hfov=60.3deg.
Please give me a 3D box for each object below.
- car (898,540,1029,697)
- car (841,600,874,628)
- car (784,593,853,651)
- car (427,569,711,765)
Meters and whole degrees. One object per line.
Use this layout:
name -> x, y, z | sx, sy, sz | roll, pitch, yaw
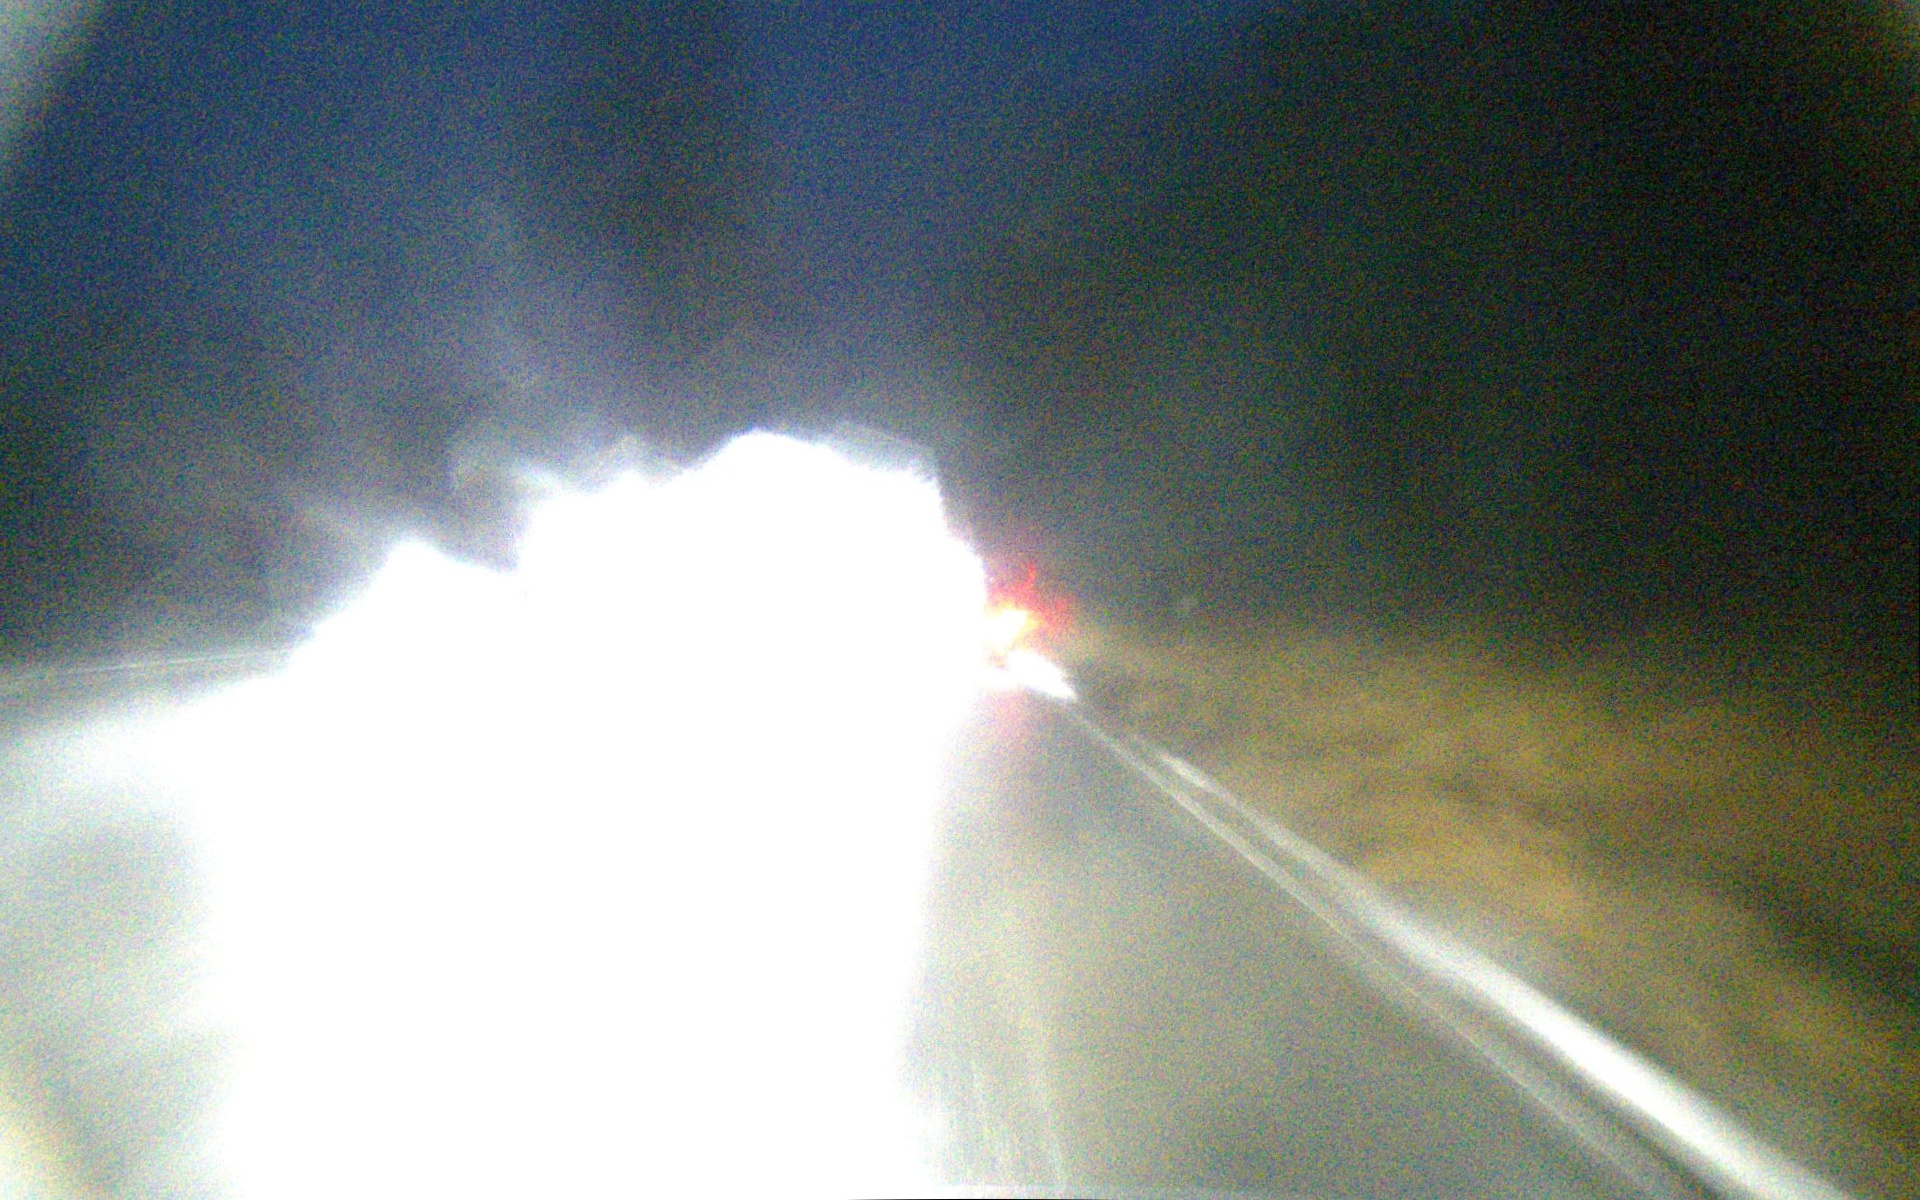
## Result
car -> 0.021, 0.234, 30.112 | 2.137, 2.601, 4.508 | 1, 2, -1
car -> -5.800, 0.778, 94.004 | 1.736, 1.536, 3.689 | 0, 1, -1
car -> -4.338, 0.641, 51.124 | 1.822, 1.666, 4.142 | 0, 0, -1
car -> -3.352, 0.516, 14.831 | 1.749, 1.536, 3.599 | 0, 0, -1
